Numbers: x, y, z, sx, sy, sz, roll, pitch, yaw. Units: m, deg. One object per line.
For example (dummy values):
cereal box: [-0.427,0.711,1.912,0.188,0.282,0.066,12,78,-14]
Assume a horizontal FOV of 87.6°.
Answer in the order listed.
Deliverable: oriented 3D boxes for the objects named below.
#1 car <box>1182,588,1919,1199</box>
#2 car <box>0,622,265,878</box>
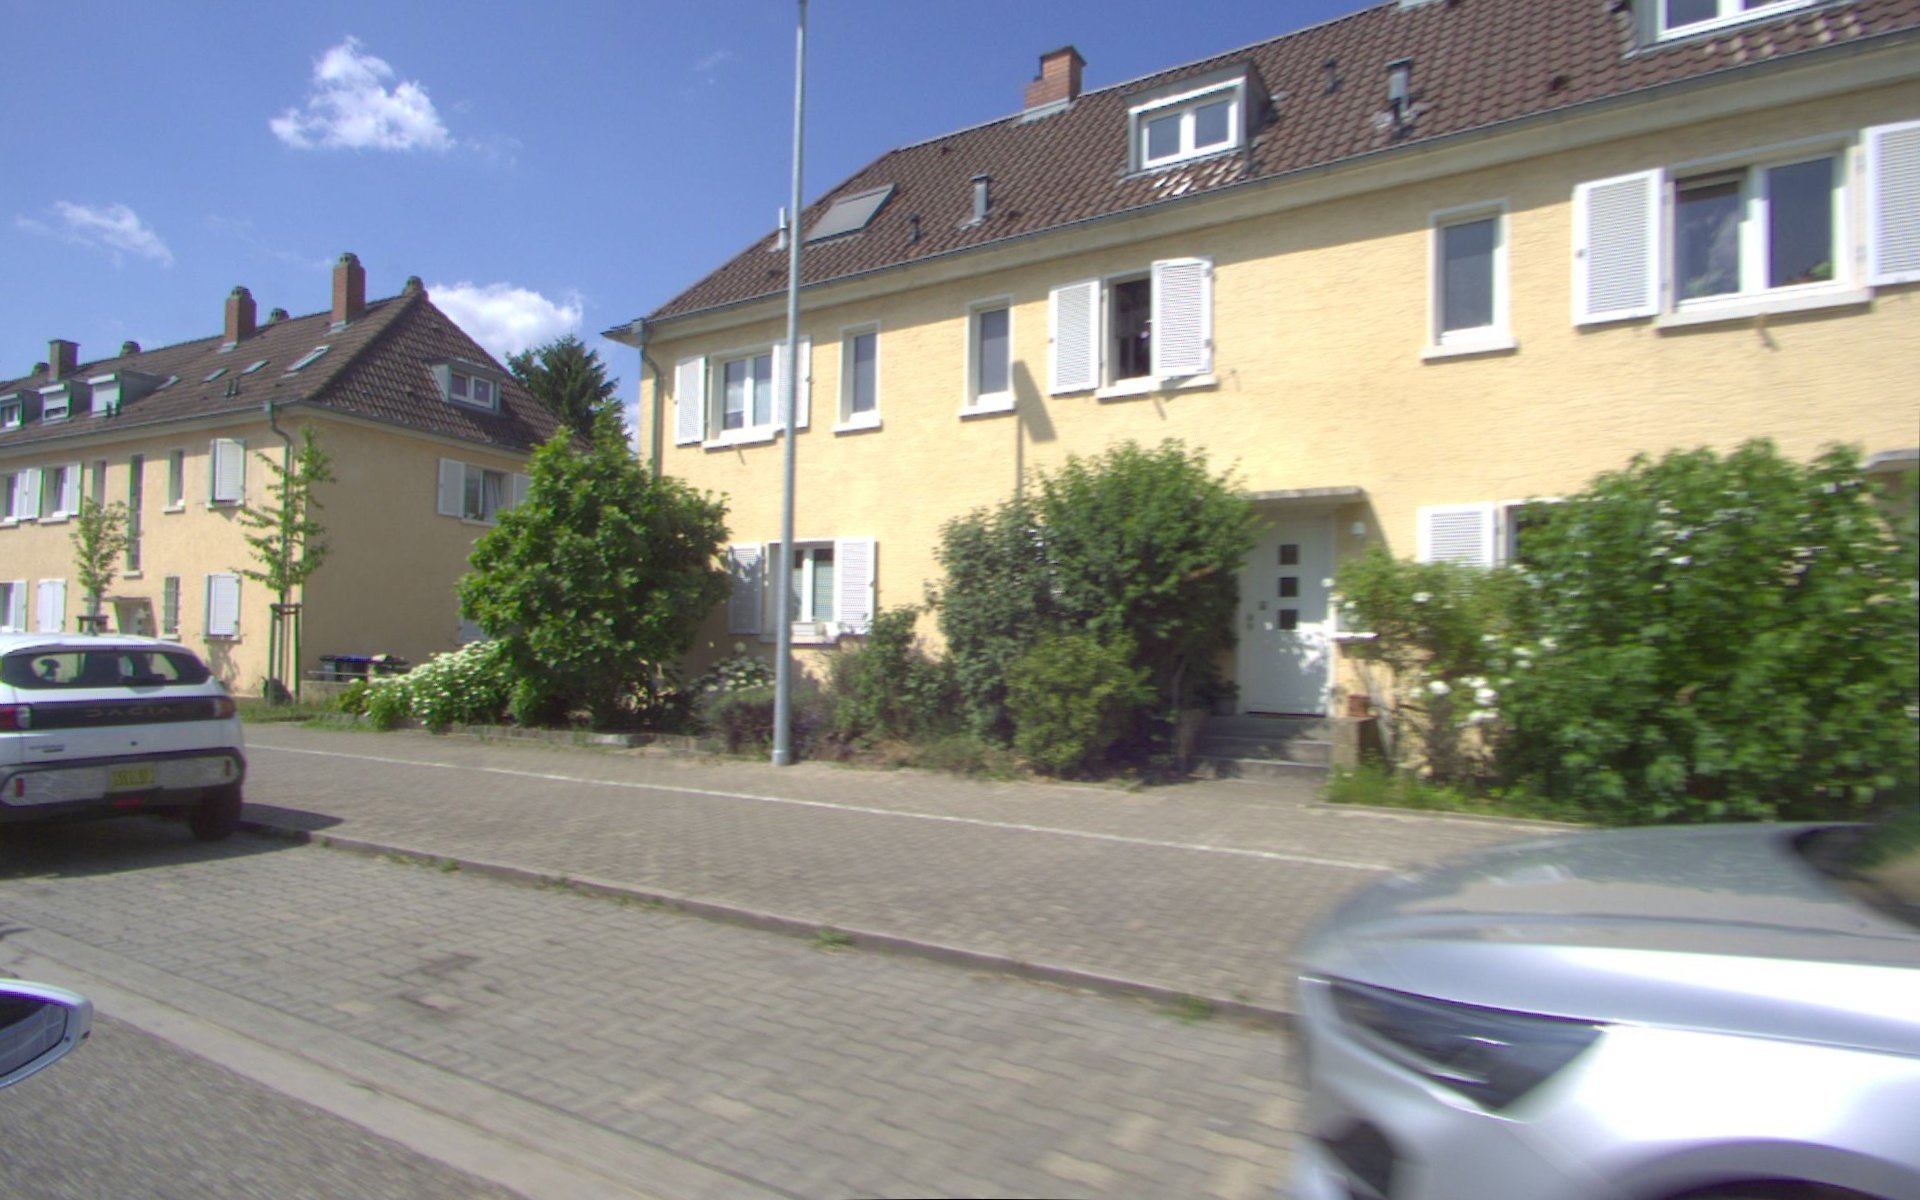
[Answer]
car: [2.708,0.752,1.522,4.321,1.516,1.748,-1,-2,31]
car: [-6.927,0.926,7.393,3.753,1.500,1.526,-1,-2,31]
